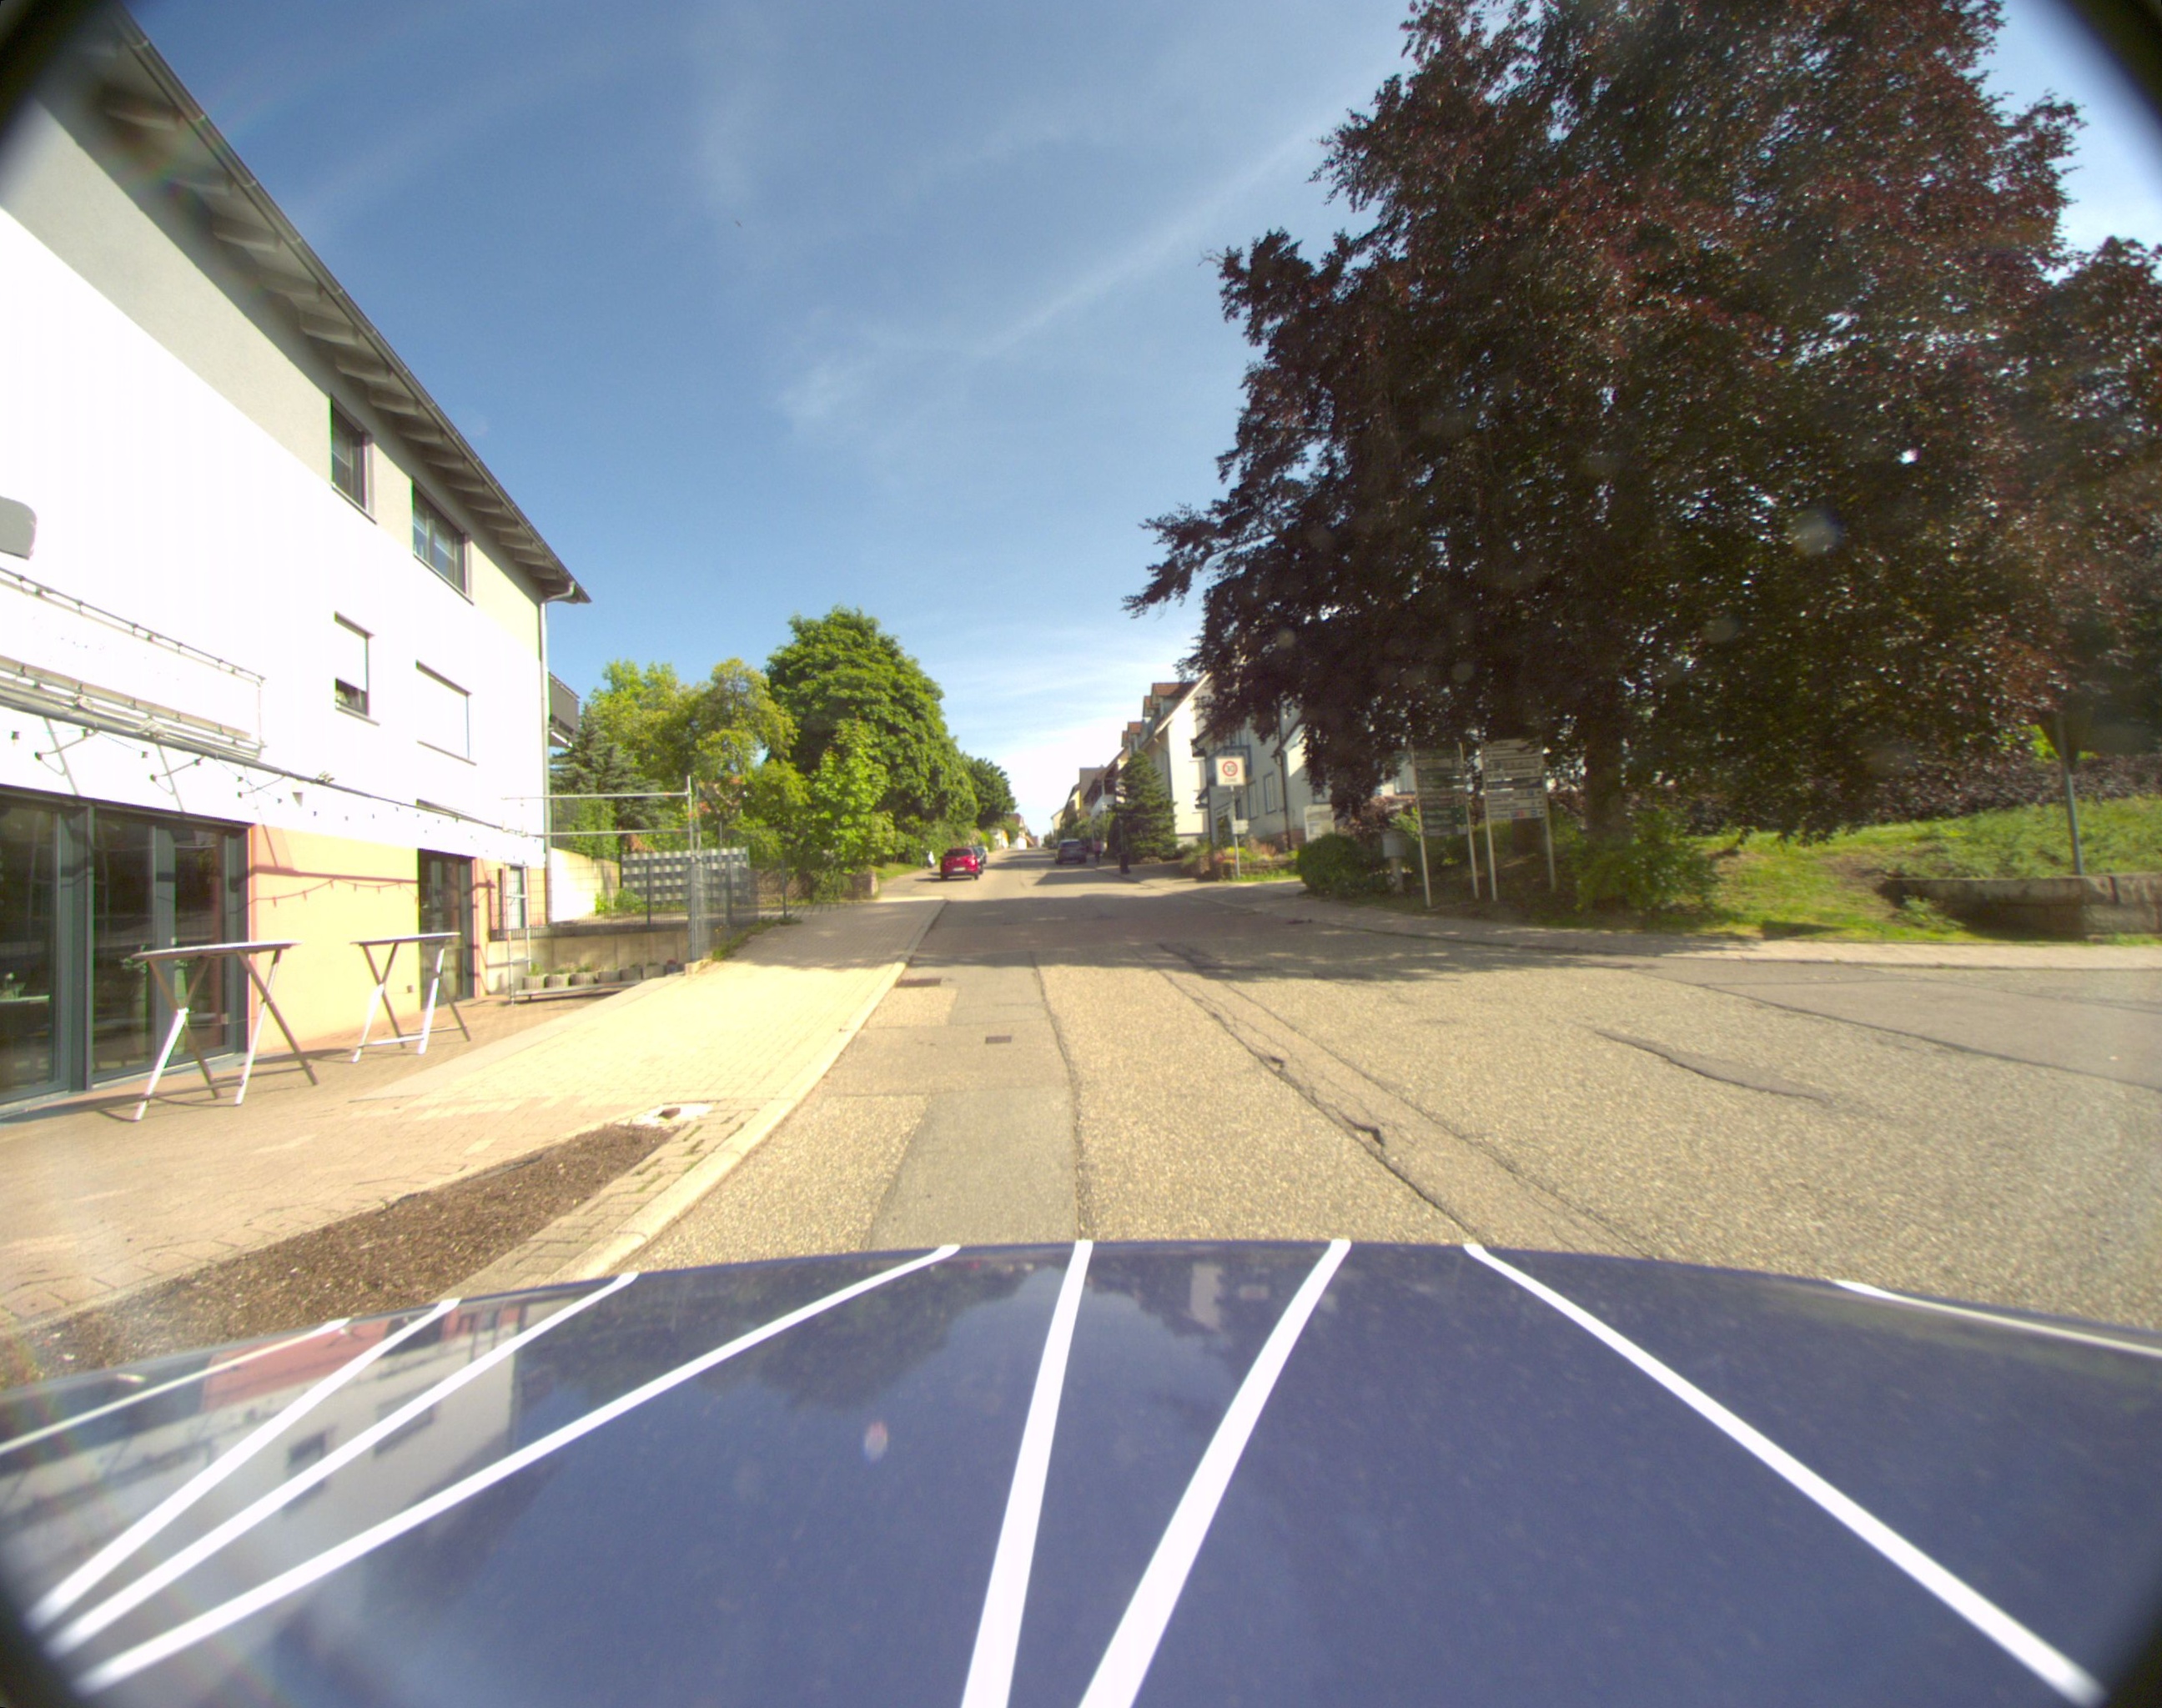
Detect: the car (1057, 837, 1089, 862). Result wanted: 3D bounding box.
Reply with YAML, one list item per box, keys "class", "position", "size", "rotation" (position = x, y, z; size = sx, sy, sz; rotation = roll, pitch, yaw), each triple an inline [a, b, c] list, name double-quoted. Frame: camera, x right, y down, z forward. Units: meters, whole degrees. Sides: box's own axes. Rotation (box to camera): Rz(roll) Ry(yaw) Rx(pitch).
- class: "car"
  position: [-0.605, -0.325, 52.011]
  size: [1.808, 1.592, 3.808]
  rotation: [-3, 1, -5]

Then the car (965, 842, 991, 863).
- class: "car"
  position: [-8.002, -0.137, 59.194]
  size: [1.776, 1.462, 3.808]
  rotation: [-3, 1, -5]

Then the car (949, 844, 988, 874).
- class: "car"
  position: [-5.988, 0.249, 40.791]
  size: [1.776, 1.462, 3.808]
  rotation: [-3, 1, -5]

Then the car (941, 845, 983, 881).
- class: "car"
  position: [-5.464, 0.391, 35.211]
  size: [1.624, 1.489, 3.808]
  rotation: [-3, 1, -5]

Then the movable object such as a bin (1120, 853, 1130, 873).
- class: "movable object such as a bin"
  position: [1.891, 0.392, 32.997]
  size: [0.351, 0.859, 0.395]
  rotation: [-2, 1, -5]

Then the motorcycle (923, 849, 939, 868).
- class: "motorcycle"
  position: [-9.819, 0.266, 49.776]
  size: [0.785, 1.175, 2.186]
  rotation: [-2, 1, -7]

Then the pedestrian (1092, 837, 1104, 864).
- class: "pedestrian"
  position: [1.045, -0.216, 46.007]
  size: [0.668, 1.566, 0.780]
  rotation: [-2, 2, 1]
